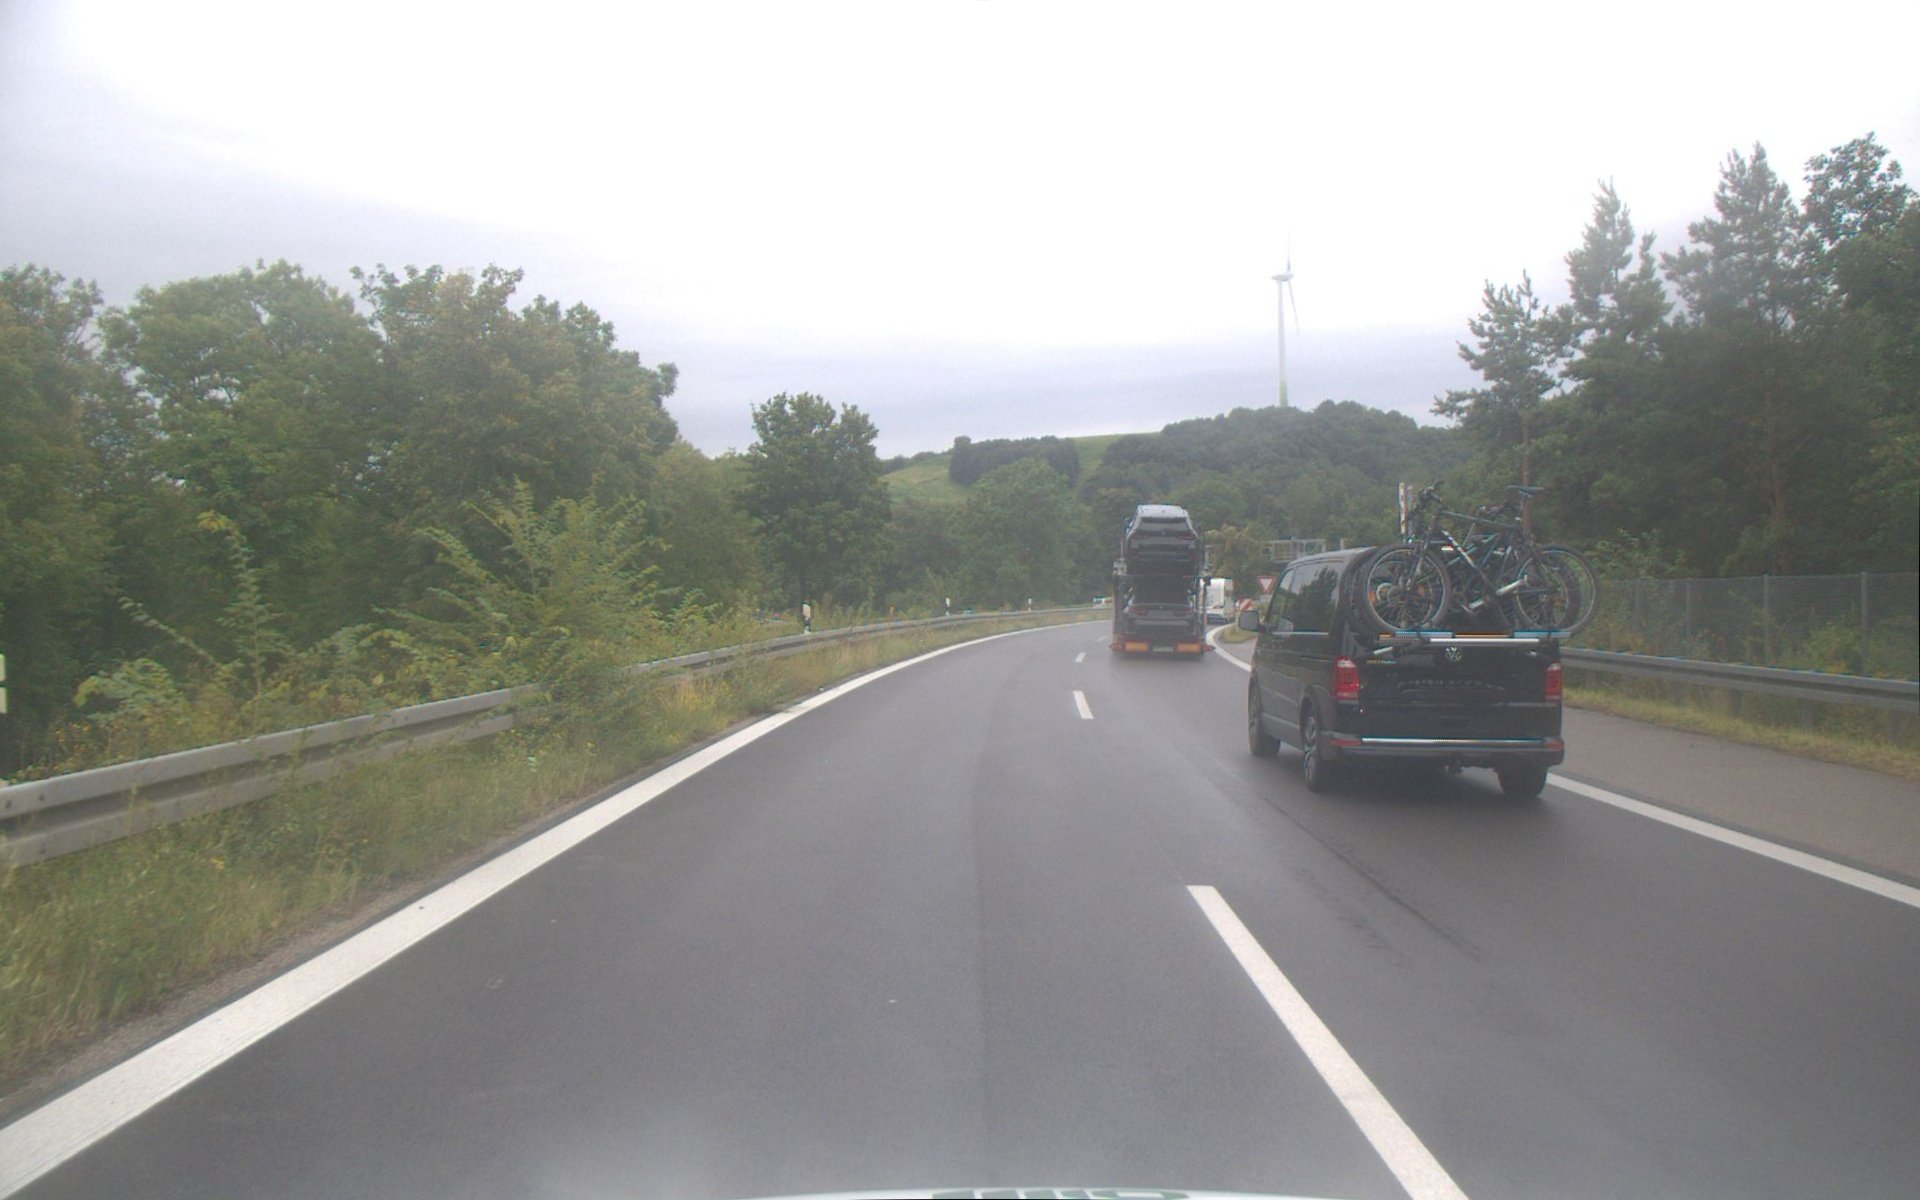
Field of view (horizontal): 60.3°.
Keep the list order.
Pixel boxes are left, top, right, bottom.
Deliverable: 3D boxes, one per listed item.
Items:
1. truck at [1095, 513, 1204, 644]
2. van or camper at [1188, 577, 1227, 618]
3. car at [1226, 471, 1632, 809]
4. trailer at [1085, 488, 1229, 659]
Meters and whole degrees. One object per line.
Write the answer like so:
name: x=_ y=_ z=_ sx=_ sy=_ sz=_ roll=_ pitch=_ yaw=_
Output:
truck: x=6.461 y=-0.689 z=57.569 sx=3.323 sy=4.069 sz=10.853 roll=1 pitch=0 yaw=5
van or camper: x=14.239 y=-0.172 z=94.982 sx=2.047 sy=2.270 sz=4.435 roll=1 pitch=0 yaw=11
car: x=3.746 y=0.252 z=14.499 sx=2.066 sy=2.304 sz=5.898 roll=1 pitch=0 yaw=2
trailer: x=5.334 y=-0.659 z=46.115 sx=3.376 sy=4.069 sz=12.034 roll=1 pitch=0 yaw=5
